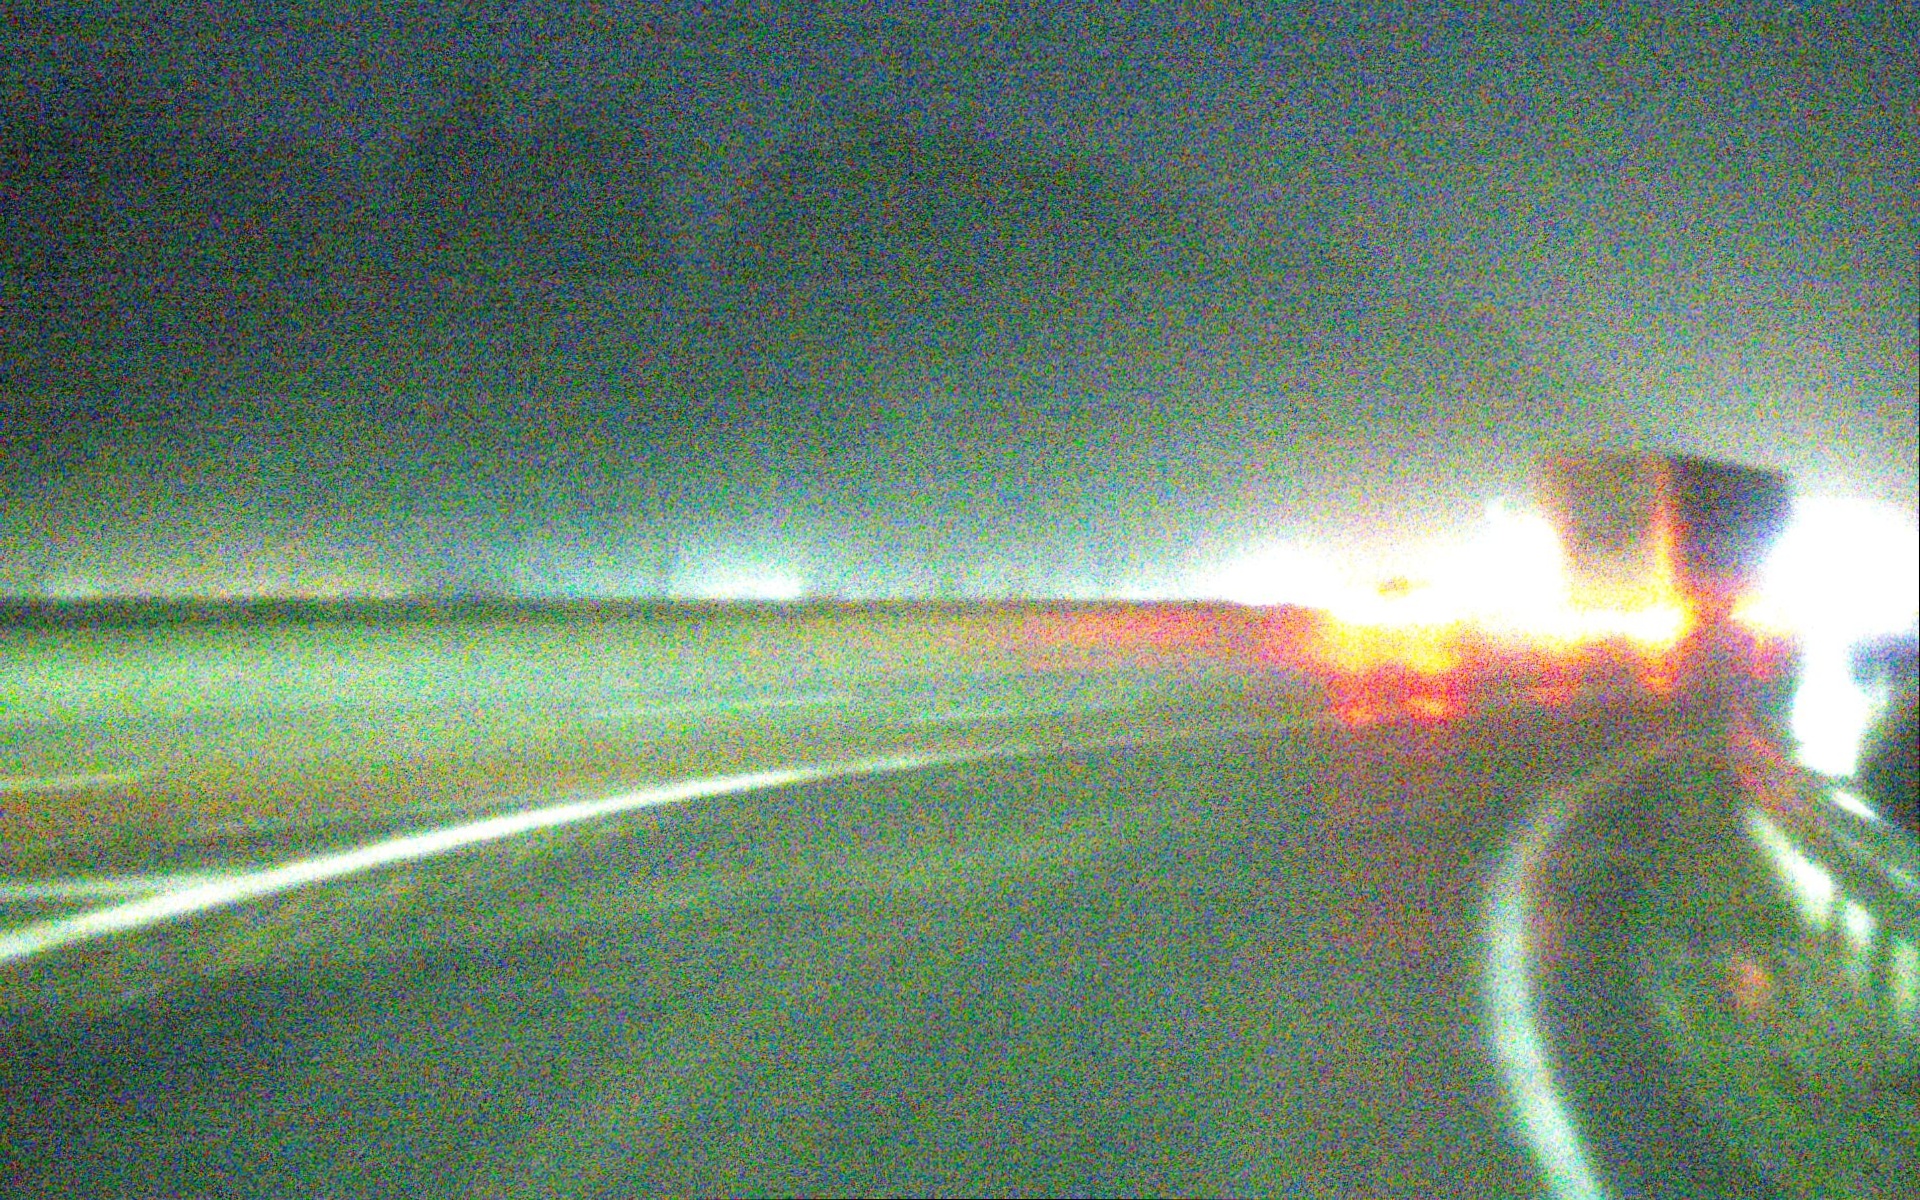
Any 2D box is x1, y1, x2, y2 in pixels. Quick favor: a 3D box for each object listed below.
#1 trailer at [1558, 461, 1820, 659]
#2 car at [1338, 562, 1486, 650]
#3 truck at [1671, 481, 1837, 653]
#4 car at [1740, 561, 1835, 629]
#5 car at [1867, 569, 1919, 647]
[{"bbox_3d":[15.759,-0.756,73.310,2.595,3.712,13.635,4,1,23],"label":"trailer"},{"bbox_3d":[9.101,0.110,69.014,1.996,1.612,3.996,3,1,21],"label":"car"},{"bbox_3d":[18.351,-0.732,79.269,2.591,3.698,5.451,4,1,23],"label":"truck"},{"bbox_3d":[26.312,-0.159,109.247,1.996,2.007,3.994,4,1,26],"label":"car"},{"bbox_3d":[23.820,0.212,84.940,1.996,1.812,3.995,4,1,25],"label":"car"}]
